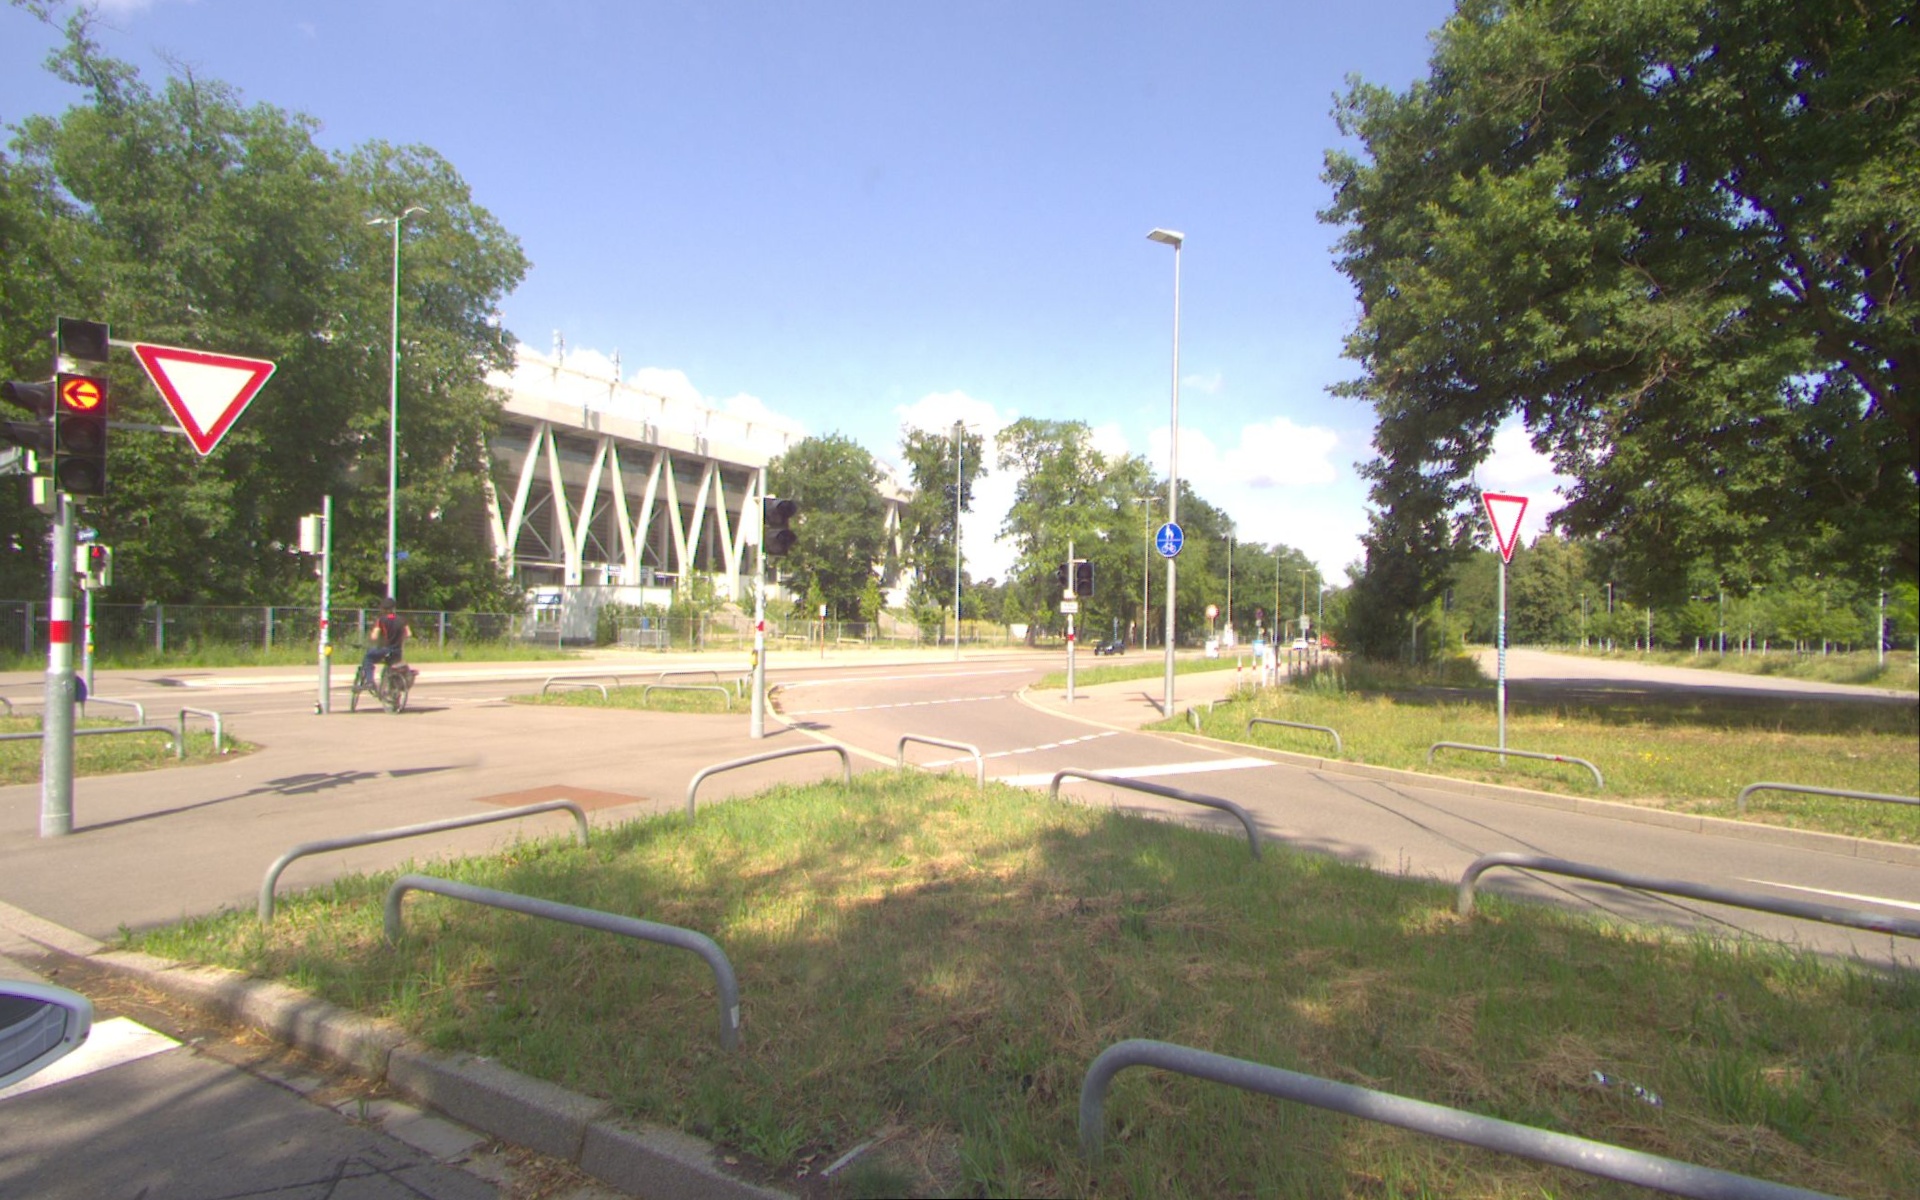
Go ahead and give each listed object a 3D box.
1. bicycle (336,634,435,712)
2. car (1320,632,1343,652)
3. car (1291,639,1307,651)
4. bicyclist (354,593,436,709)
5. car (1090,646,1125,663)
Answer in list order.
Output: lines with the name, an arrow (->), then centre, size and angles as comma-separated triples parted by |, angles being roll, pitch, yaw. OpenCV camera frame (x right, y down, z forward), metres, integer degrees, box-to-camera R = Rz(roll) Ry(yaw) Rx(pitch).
bicycle -> -9.528, 1.170, 16.590 | 1.876, 1.221, 0.876 | -2, -2, 42
car -> 47.354, 5.340, 127.676 | 2.031, 2.440, 3.982 | -1, -2, 31
car -> 44.676, 5.908, 131.915 | 1.334, 1.544, 3.460 | -1, -2, 31
bicyclist -> -9.226, 0.825, 16.353 | 0.967, 1.820, 0.881 | -1, -2, 40
car -> 13.001, 4.793, 88.208 | 1.580, 1.395, 3.956 | -1, -2, 32
